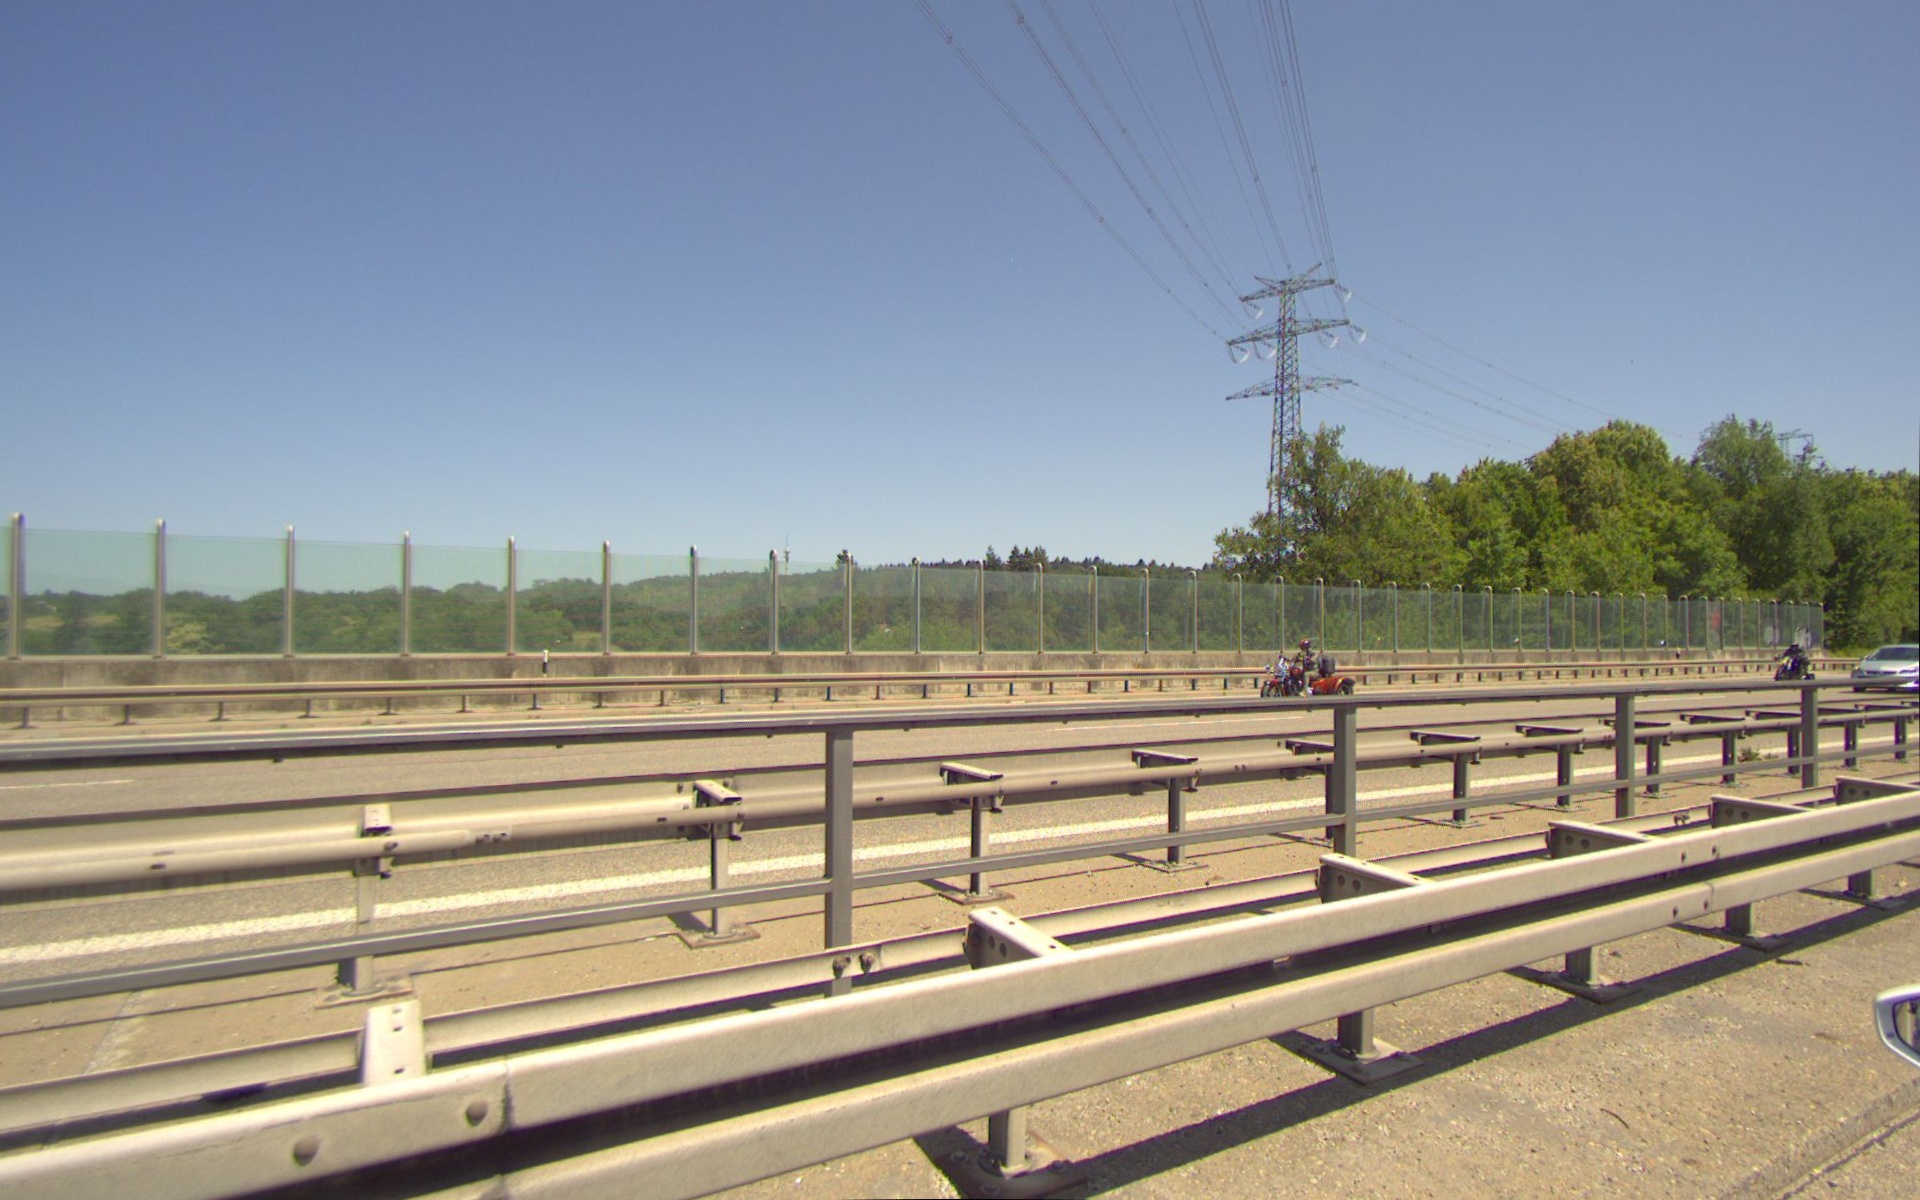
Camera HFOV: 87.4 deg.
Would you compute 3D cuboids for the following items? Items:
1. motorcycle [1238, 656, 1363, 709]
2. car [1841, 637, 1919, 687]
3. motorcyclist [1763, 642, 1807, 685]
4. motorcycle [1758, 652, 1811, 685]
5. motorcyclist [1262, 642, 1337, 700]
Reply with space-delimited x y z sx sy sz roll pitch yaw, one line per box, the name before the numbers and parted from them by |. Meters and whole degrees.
motorcycle | 7.782 1.865 22.947 2.546 1.113 1.360 1 -4 -30
car | 29.215 1.906 31.085 4.127 1.453 1.707 2 -4 -31
motorcyclist | 29.316 2.230 35.684 1.070 1.460 0.893 0 -1 -30
motorcycle | 29.365 2.430 35.758 2.278 1.085 0.698 0 -1 -30
motorcyclist | 7.741 1.612 22.947 1.106 1.273 1.181 1 -3 -30
